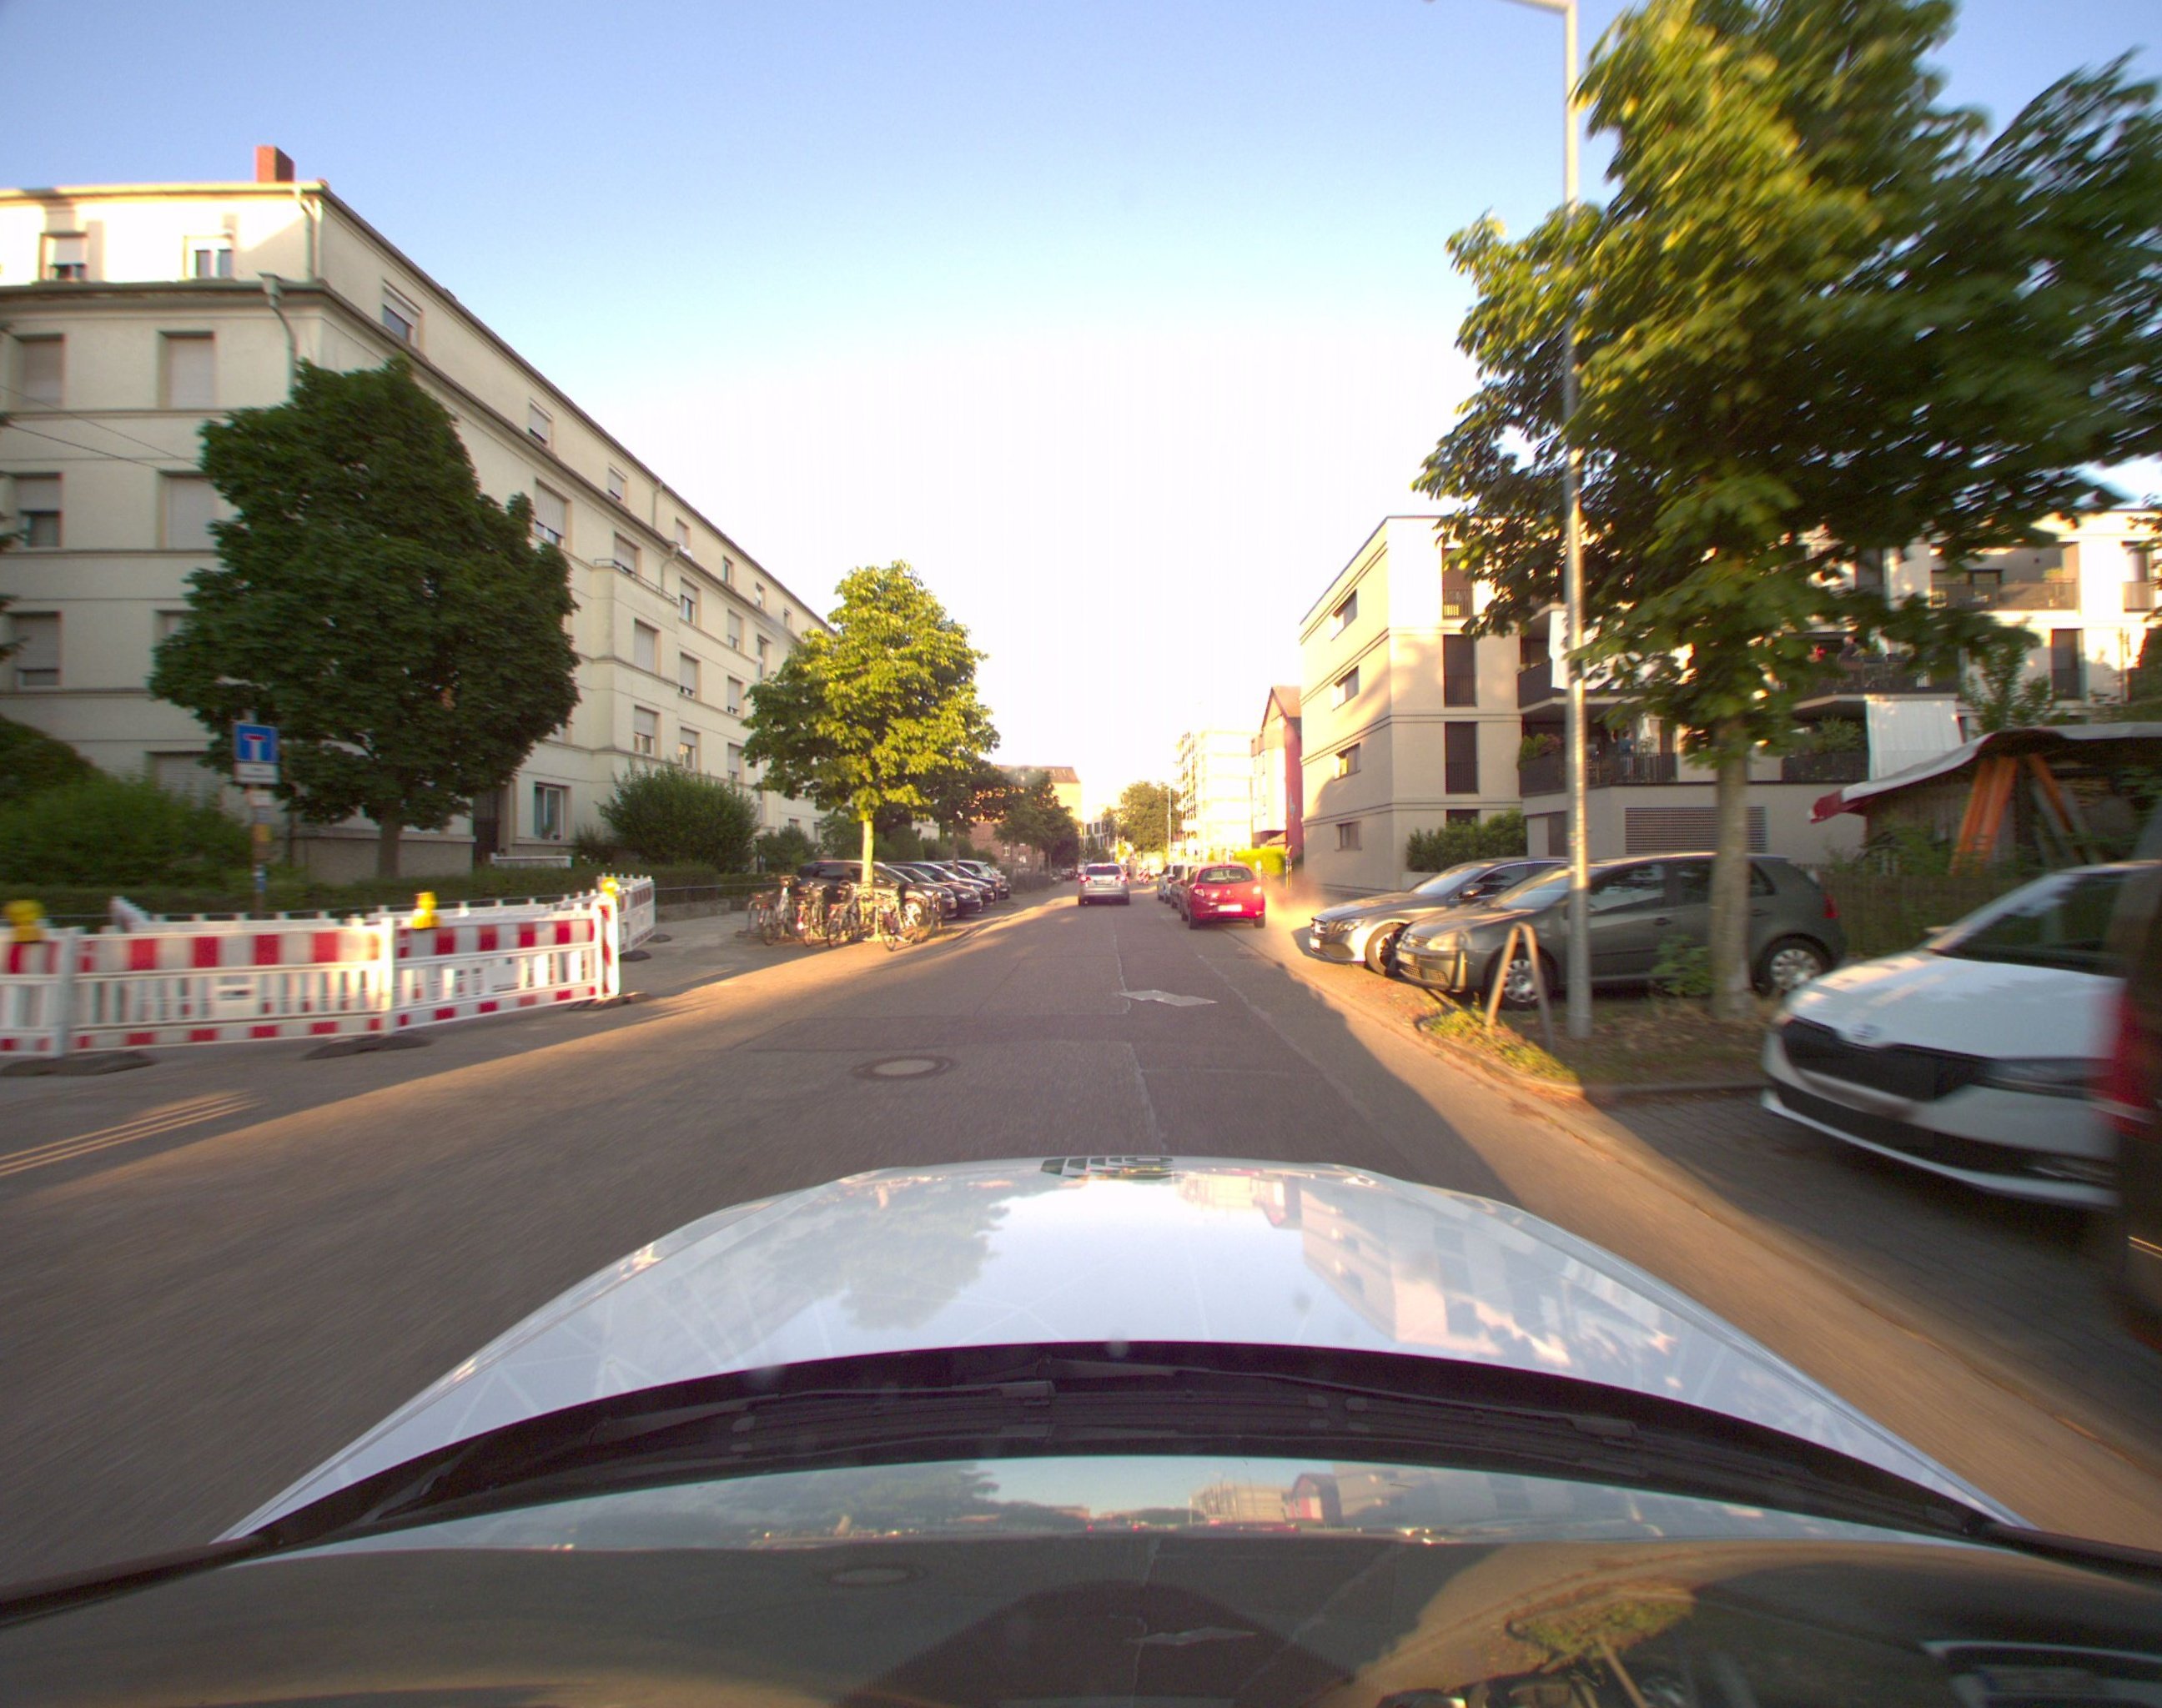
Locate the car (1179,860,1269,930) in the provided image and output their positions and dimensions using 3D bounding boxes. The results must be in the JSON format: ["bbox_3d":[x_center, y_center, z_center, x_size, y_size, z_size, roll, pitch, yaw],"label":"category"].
[{"bbox_3d":[3.295,0.902,19.387,1.723,1.483,3.560,0,0,3],"label":"car"}]

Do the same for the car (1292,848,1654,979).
[{"bbox_3d":[5.206,0.748,11.178,4.140,1.572,1.796,-1,0,-3],"label":"car"}]

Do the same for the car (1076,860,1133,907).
[{"bbox_3d":[0.833,0.984,28.579,1.801,1.488,4.001,-1,-1,2],"label":"car"}]

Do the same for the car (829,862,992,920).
[{"bbox_3d":[-4.538,0.977,22.135,3.974,1.480,2.000,0,0,0],"label":"car"}]

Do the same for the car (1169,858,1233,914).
[{"bbox_3d":[3.601,0.919,24.888,1.657,1.573,3.444,0,0,3],"label":"car"}]

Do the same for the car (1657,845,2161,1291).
[{"bbox_3d":[5.387,0.725,3.867,3.978,1.503,1.998,0,0,-3],"label":"car"}]

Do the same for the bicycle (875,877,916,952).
[{"bbox_3d":[-3.340,1.052,14.780,0.405,1.227,1.985,0,0,-3],"label":"bicycle"}]

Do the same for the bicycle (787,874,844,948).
[{"bbox_3d":[-4.836,0.998,14.924,0.404,1.227,1.986,0,0,0],"label":"bicycle"}]

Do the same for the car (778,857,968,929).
[{"bbox_3d":[-4.833,0.891,19.362,3.974,1.625,2.000,0,0,0],"label":"car"}]

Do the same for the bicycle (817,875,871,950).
[{"bbox_3d":[-4.296,1.021,14.862,0.404,1.227,1.986,0,0,0],"label":"bicycle"}]

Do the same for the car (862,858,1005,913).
[{"bbox_3d":[-4.406,0.917,24.736,3.974,1.605,1.873,0,0,0],"label":"car"}]

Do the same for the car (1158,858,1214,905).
[{"bbox_3d":[3.781,0.958,29.770,1.801,1.613,3.584,0,0,3],"label":"car"}]

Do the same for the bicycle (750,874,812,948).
[{"bbox_3d":[-5.487,1.004,14.989,0.404,1.227,1.986,0,0,0],"label":"bicycle"}]

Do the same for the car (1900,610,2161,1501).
[{"bbox_3d":[4.725,0.458,1.423,4.543,2.023,2.100,0,0,-1],"label":"car"}]

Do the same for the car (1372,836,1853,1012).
[{"bbox_3d":[5.428,0.655,8.713,3.930,1.649,1.974,0,0,-3],"label":"car"}]
